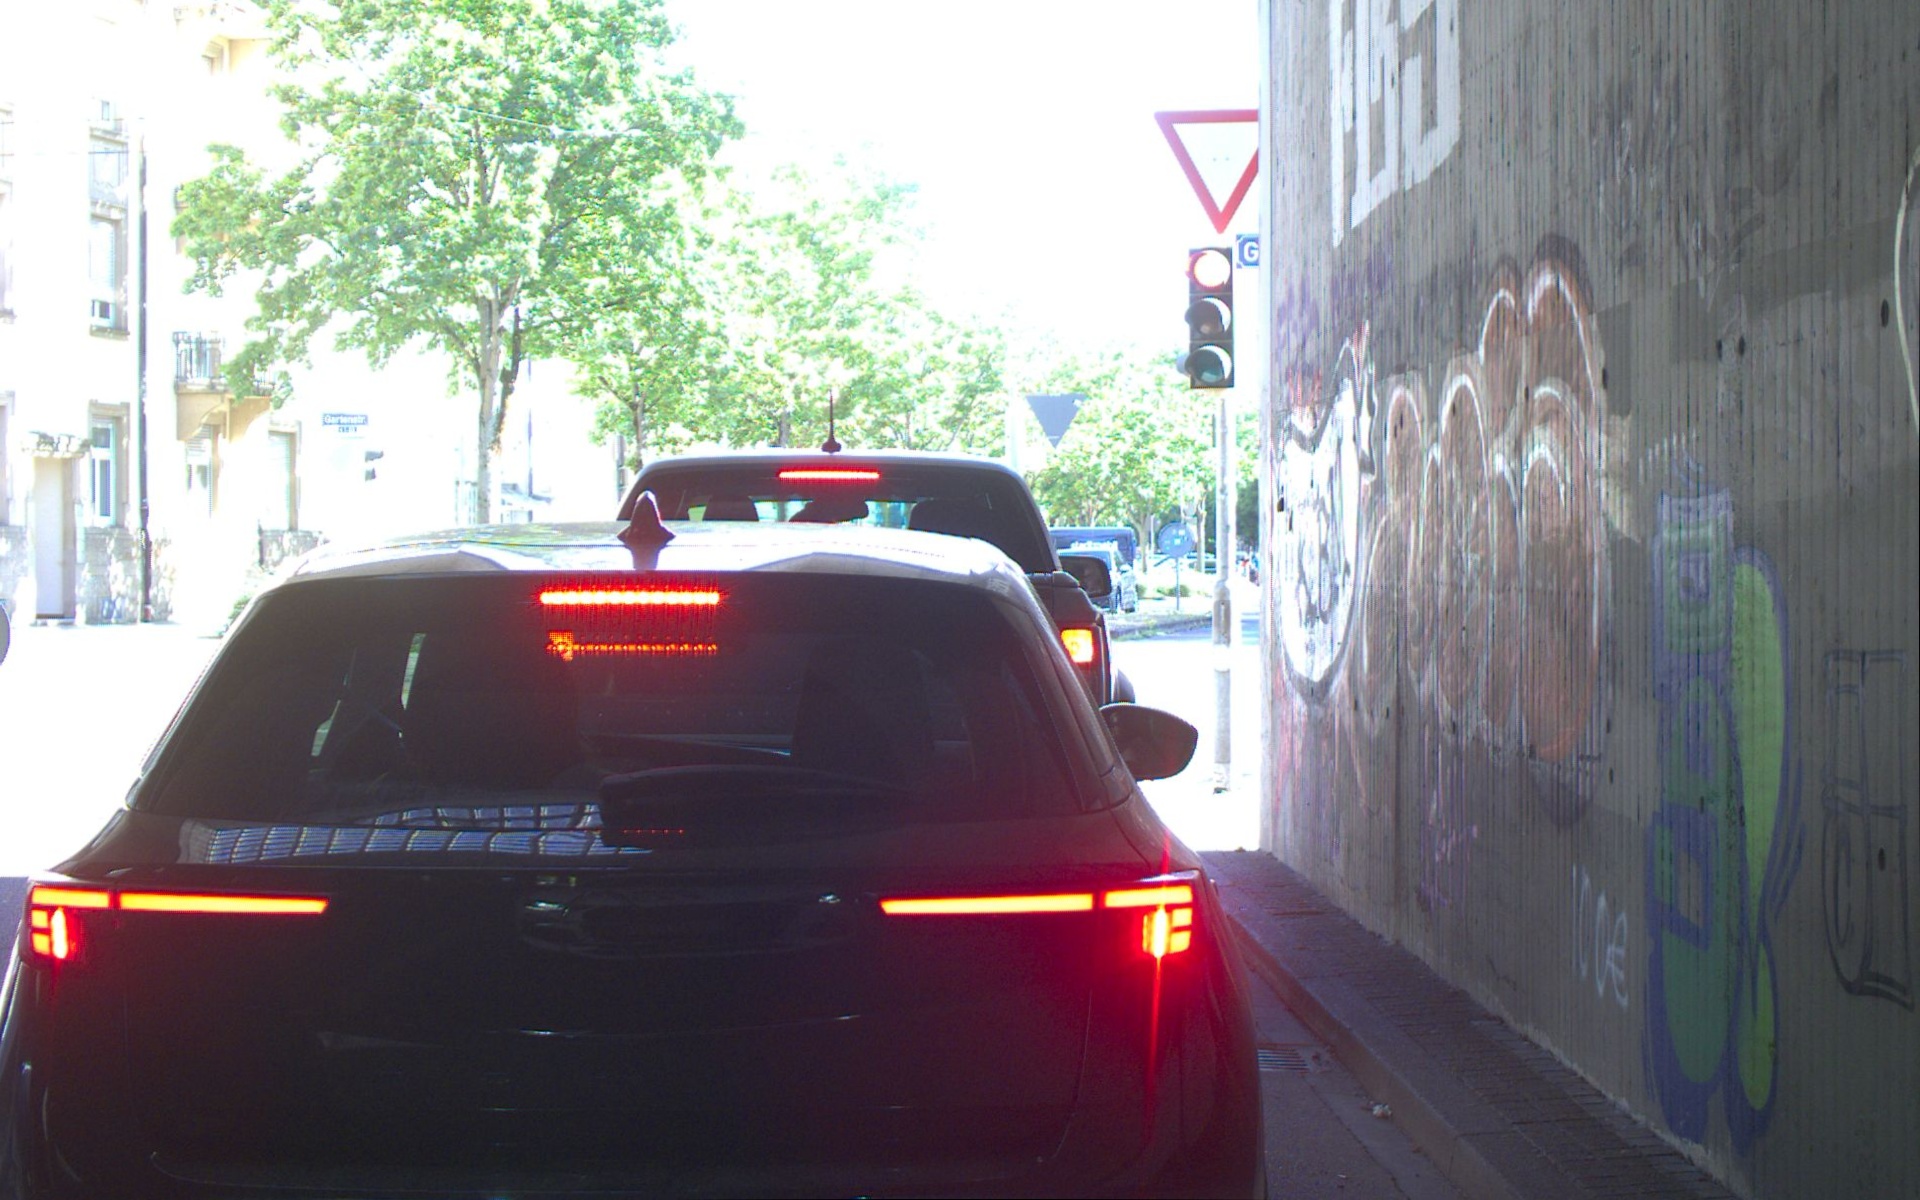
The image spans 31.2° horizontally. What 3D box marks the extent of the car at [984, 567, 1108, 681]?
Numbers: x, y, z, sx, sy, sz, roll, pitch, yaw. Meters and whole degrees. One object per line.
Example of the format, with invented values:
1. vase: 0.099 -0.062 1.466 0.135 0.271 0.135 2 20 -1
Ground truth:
1. car: 1.595 0.399 62.357 1.994 1.963 4.163 1 1 5

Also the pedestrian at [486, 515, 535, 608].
1. pedestrian: -10.117 -0.863 77.338 0.892 2.080 0.808 1 0 7

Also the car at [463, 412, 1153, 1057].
1. car: -0.462 0.352 11.990 1.993 1.865 4.000 0 1 -1

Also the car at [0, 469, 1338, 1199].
1. car: -0.477 0.569 6.010 1.764 1.566 4.001 1 2 -1

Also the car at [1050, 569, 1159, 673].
1. car: 2.911 0.386 68.440 1.994 1.963 4.163 1 1 5

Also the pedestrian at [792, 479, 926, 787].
1. pedestrian: -0.574 0.185 19.836 0.731 1.728 0.874 1 0 -1
